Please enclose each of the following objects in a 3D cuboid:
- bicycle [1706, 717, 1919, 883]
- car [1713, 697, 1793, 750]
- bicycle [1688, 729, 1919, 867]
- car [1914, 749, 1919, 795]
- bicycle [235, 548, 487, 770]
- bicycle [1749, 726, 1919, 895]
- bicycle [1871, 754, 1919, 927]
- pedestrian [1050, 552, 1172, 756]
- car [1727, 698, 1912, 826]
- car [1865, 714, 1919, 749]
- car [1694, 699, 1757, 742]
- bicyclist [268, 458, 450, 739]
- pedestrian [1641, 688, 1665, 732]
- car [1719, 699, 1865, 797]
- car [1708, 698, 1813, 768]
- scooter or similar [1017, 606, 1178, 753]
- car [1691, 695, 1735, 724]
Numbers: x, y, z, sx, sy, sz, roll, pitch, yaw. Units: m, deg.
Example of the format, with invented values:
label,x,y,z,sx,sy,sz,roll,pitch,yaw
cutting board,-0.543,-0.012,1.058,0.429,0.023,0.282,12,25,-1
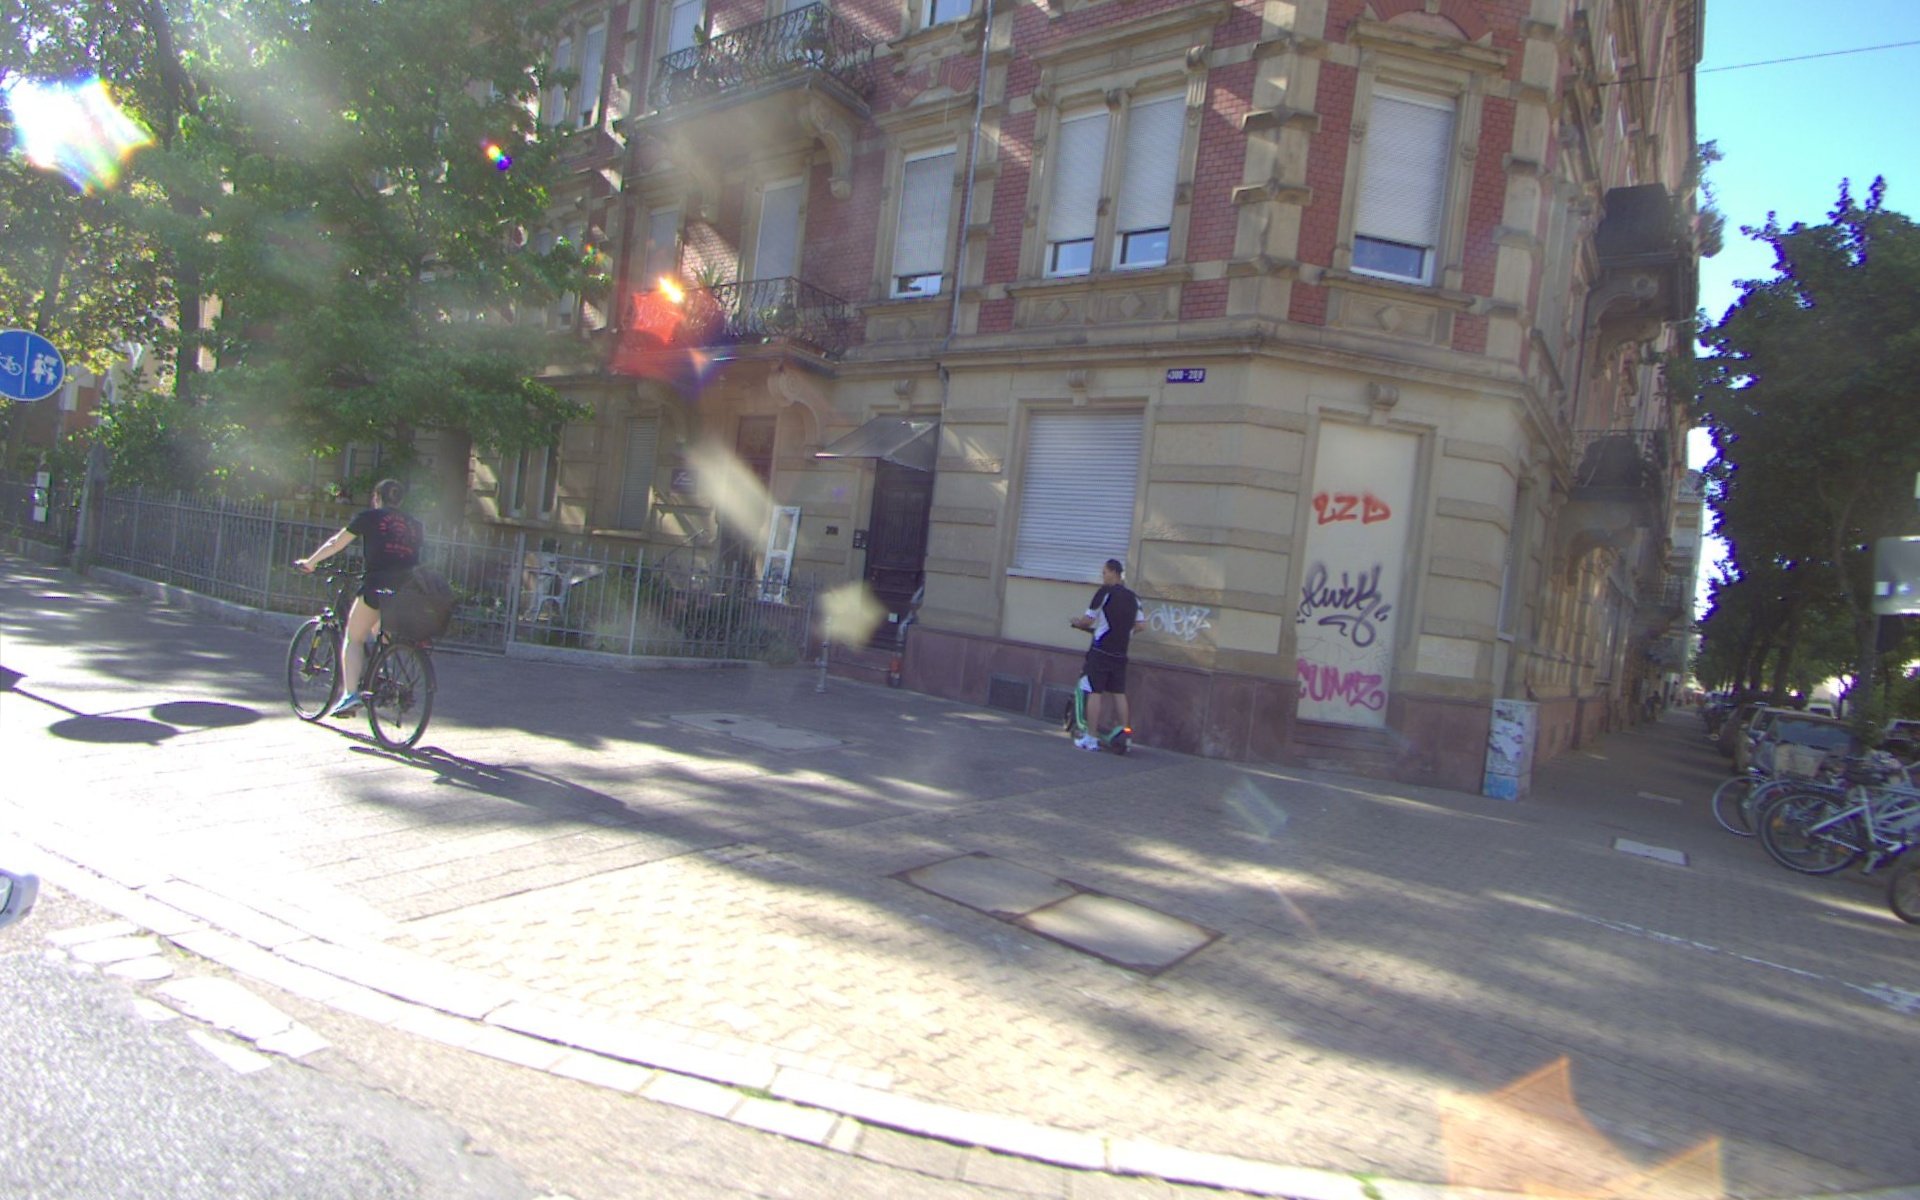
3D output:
label,x,y,z,sx,sy,sz,roll,pitch,yaw
bicycle,8.536,1.928,9.650,1.983,1.201,0.633,10,3,27
car,28.487,4.398,36.233,2.016,1.435,3.922,7,1,37
bicycle,9.230,2.110,10.960,1.989,1.068,0.582,7,1,38
car,22.626,3.874,21.976,2.016,1.435,3.922,7,1,37
bicycle,-4.046,0.335,6.745,1.812,1.193,0.652,7,4,32
bicycle,8.001,1.846,8.454,1.990,1.149,0.582,10,3,41
bicycle,7.636,1.823,7.179,1.989,1.149,0.582,8,2,-16
pedestrian,1.498,0.519,10.055,0.685,1.916,0.762,6,1,-25
car,14.532,2.644,17.242,2.016,1.544,3.922,7,1,37
car,49.371,6.915,53.039,1.942,1.435,3.922,7,1,37
car,34.209,5.336,44.983,2.016,1.435,3.922,7,1,37
bicyclist,-4.021,-0.030,6.728,0.874,1.719,0.645,8,4,31
pedestrian,31.820,5.057,46.175,0.683,1.915,0.764,6,-1,39
car,17.057,2.960,20.816,2.016,1.435,3.922,7,1,37
car,22.180,3.628,27.999,2.016,1.435,3.922,7,1,37
scooter or similar,1.364,0.770,10.184,0.754,1.280,1.395,4,2,-37
car,47.525,6.866,63.521,2.016,1.435,3.922,7,1,37
